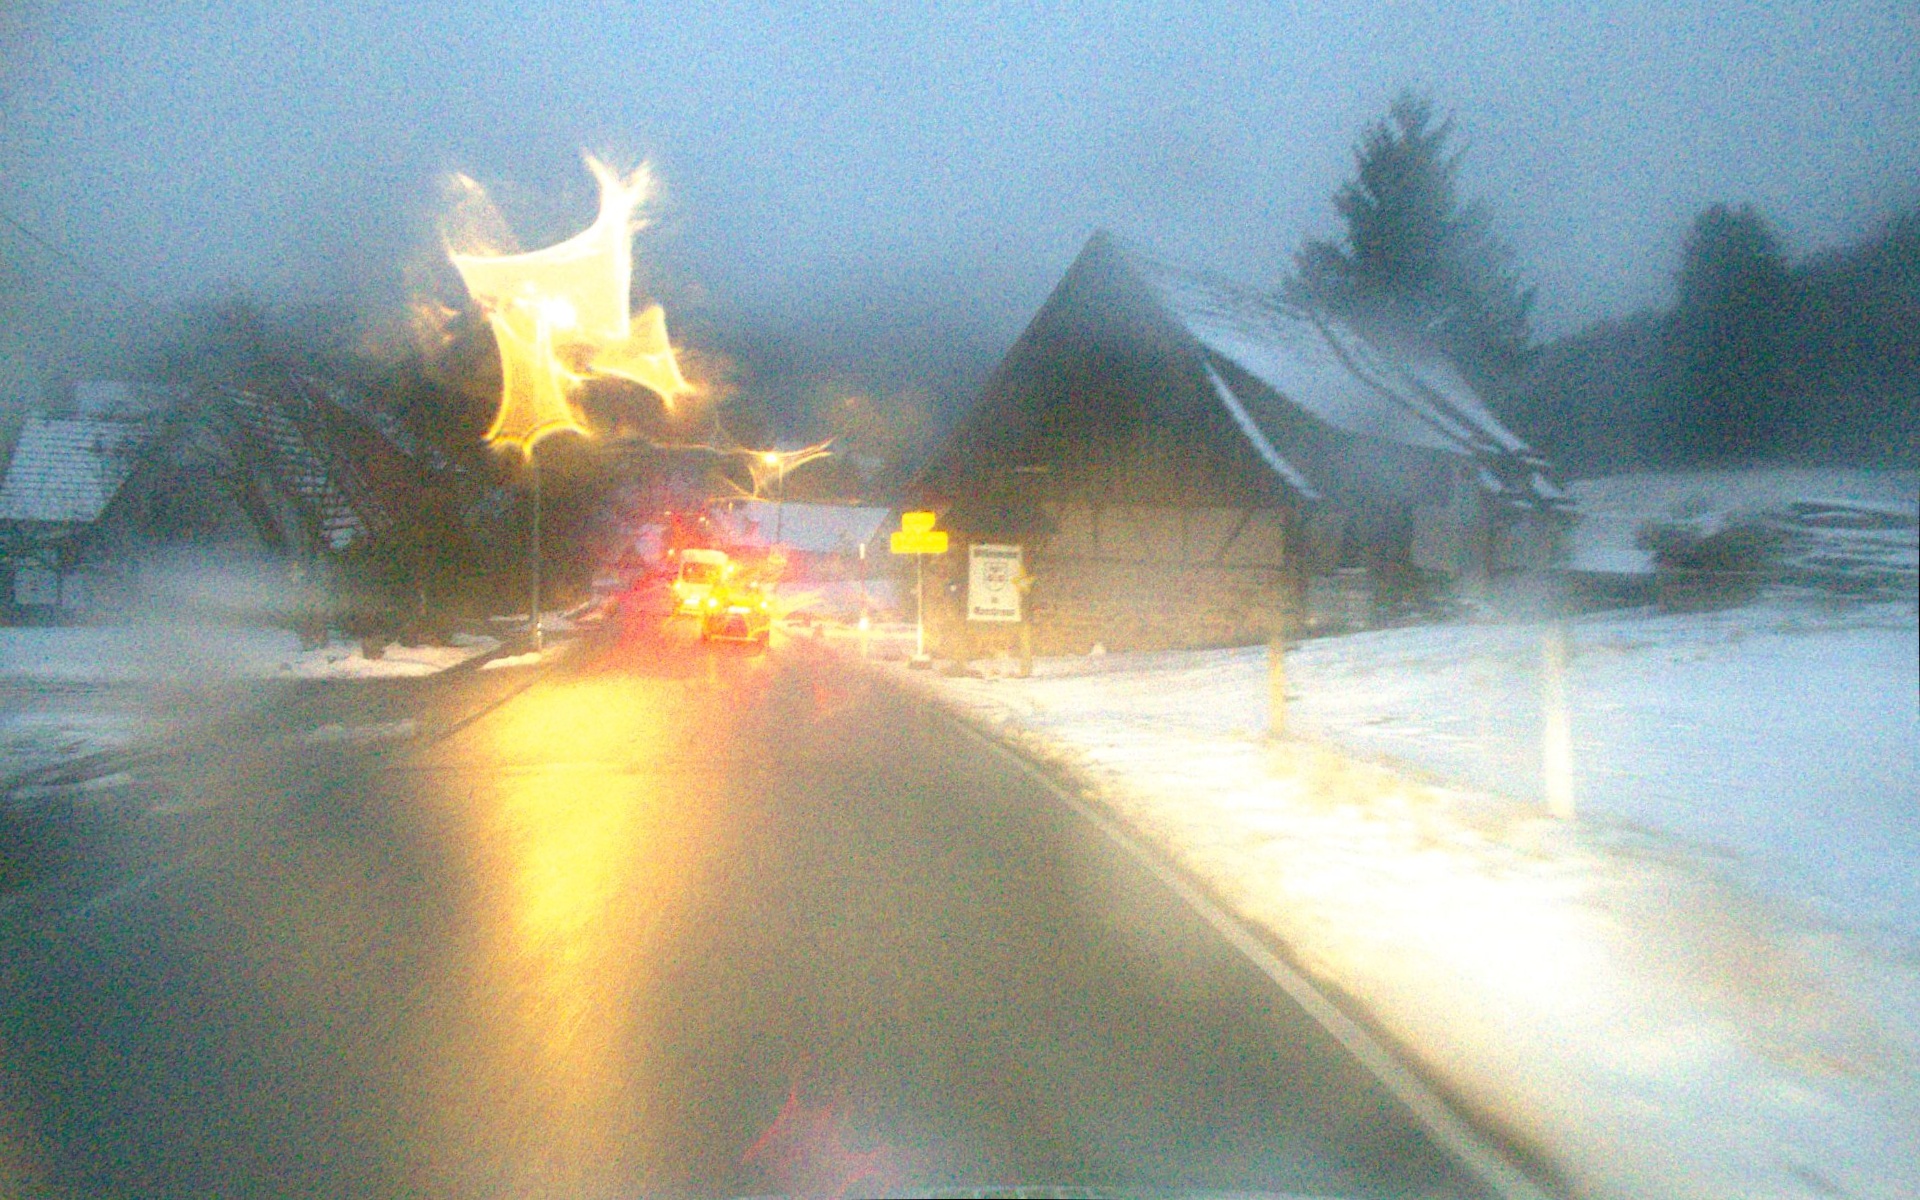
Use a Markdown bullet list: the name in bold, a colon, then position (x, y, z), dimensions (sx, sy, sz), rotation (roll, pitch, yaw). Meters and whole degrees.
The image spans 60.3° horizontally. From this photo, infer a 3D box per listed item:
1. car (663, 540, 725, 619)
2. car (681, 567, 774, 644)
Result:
- **car**: position (-10.955, -0.780, 68.220), dimensions (2.390, 3.072, 5.313), rotation (1, -1, -9)
- **car**: position (-6.091, 0.113, 43.011), dimensions (2.232, 1.873, 4.996), rotation (0, 1, -9)
